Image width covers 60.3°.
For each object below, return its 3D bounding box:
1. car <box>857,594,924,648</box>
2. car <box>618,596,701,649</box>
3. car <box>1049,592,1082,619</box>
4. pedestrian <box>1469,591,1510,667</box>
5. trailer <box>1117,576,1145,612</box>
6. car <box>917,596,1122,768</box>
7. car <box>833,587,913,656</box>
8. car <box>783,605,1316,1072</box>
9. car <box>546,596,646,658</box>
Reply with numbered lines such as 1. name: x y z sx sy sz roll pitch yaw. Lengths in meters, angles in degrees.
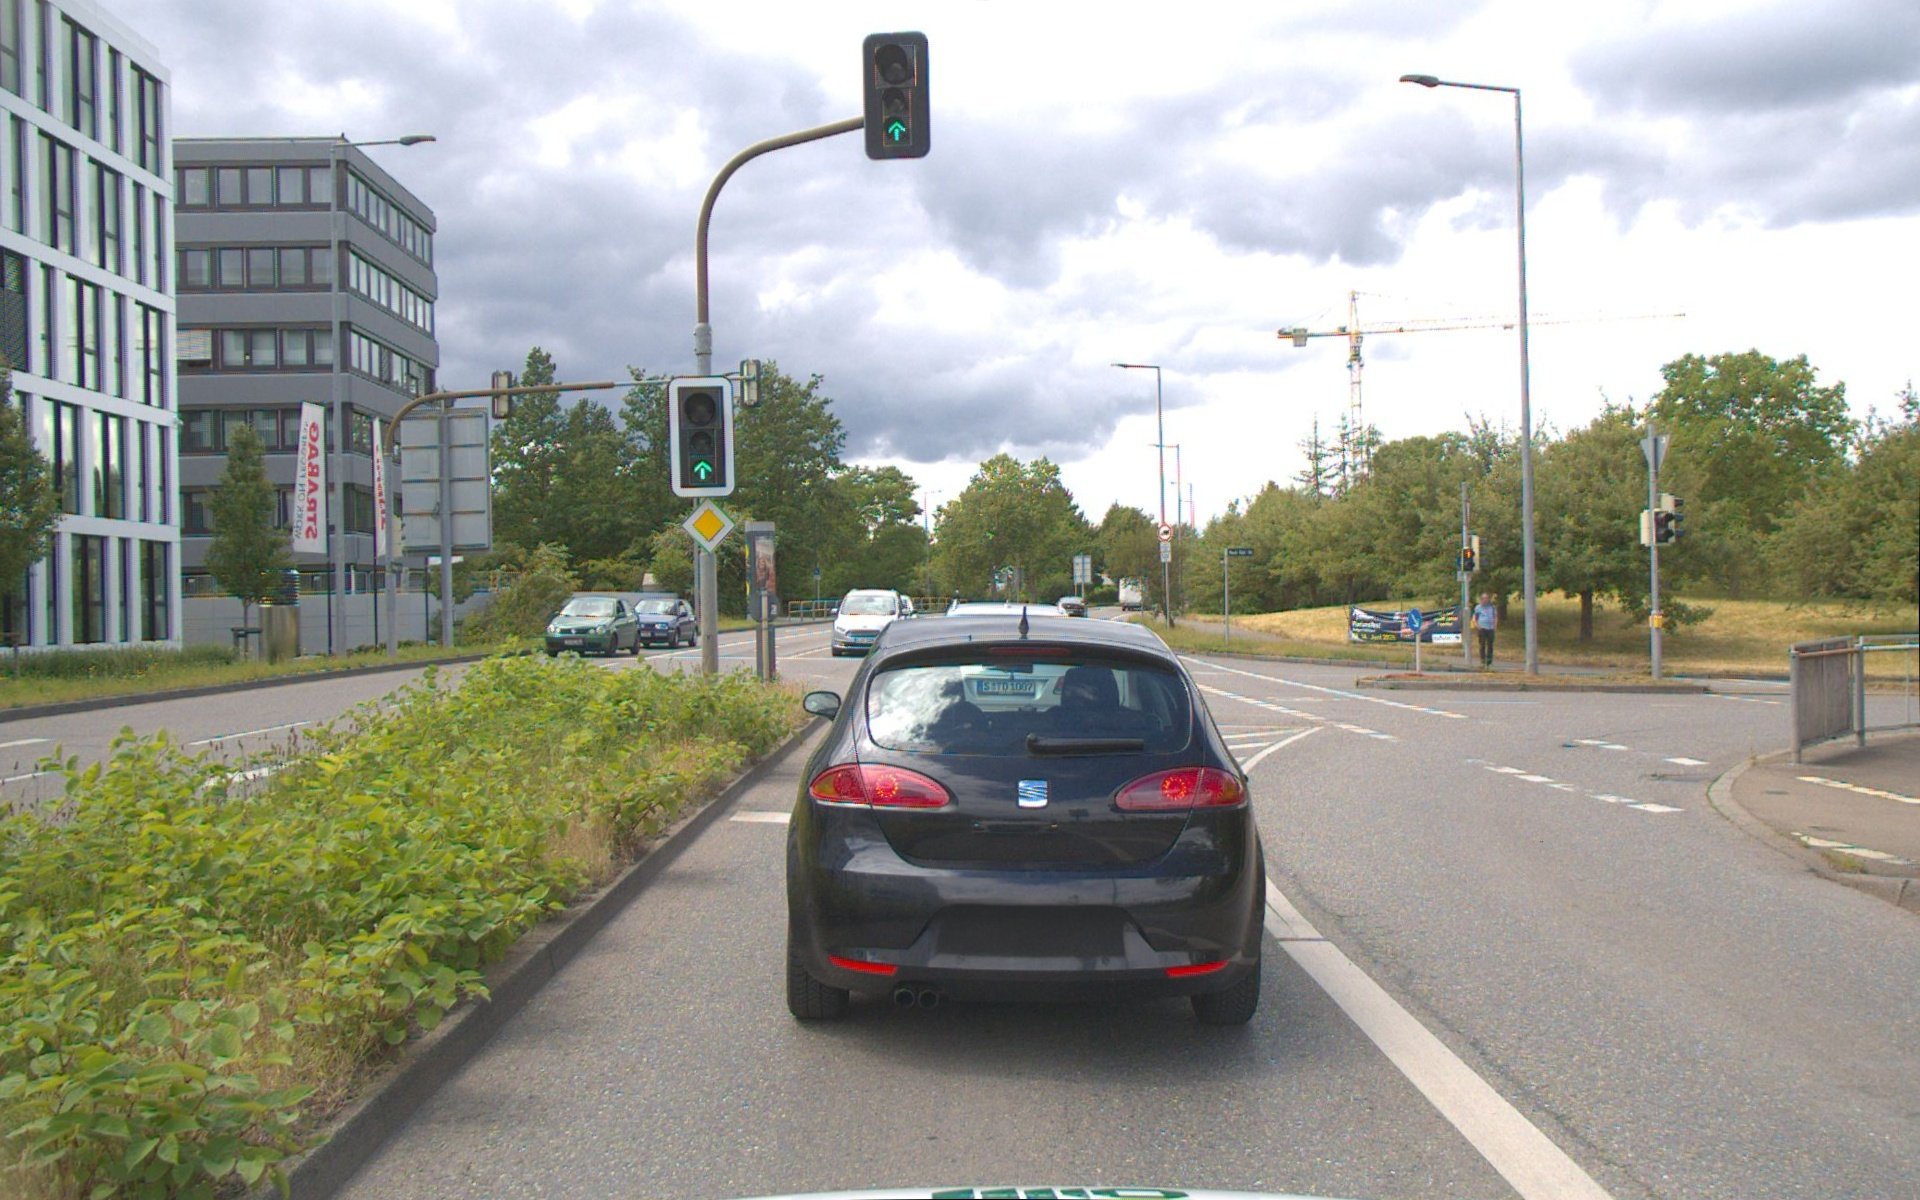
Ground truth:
1. car: -2.077 0.593 50.220 1.625 1.545 4.086 1 0 3
2. car: -8.665 0.609 47.956 1.521 1.444 3.897 0 0 3
3. car: 6.412 0.346 100.529 1.952 1.593 4.473 0 0 3
4. pedestrian: 13.065 0.711 40.824 0.703 1.824 1.044 1 -1 3
5. trailer: 15.609 -0.512 150.853 2.438 3.127 5.591 1 -1 7
6. car: 0.543 0.741 16.562 1.797 1.493 3.751 1 0 0
7. car: -2.267 0.538 44.198 1.783 1.716 4.646 1 0 1
8. car: 0.266 0.761 6.962 1.676 1.442 3.458 1 0 -1
9. car: -9.055 0.635 41.391 1.572 1.457 3.753 0 0 1
